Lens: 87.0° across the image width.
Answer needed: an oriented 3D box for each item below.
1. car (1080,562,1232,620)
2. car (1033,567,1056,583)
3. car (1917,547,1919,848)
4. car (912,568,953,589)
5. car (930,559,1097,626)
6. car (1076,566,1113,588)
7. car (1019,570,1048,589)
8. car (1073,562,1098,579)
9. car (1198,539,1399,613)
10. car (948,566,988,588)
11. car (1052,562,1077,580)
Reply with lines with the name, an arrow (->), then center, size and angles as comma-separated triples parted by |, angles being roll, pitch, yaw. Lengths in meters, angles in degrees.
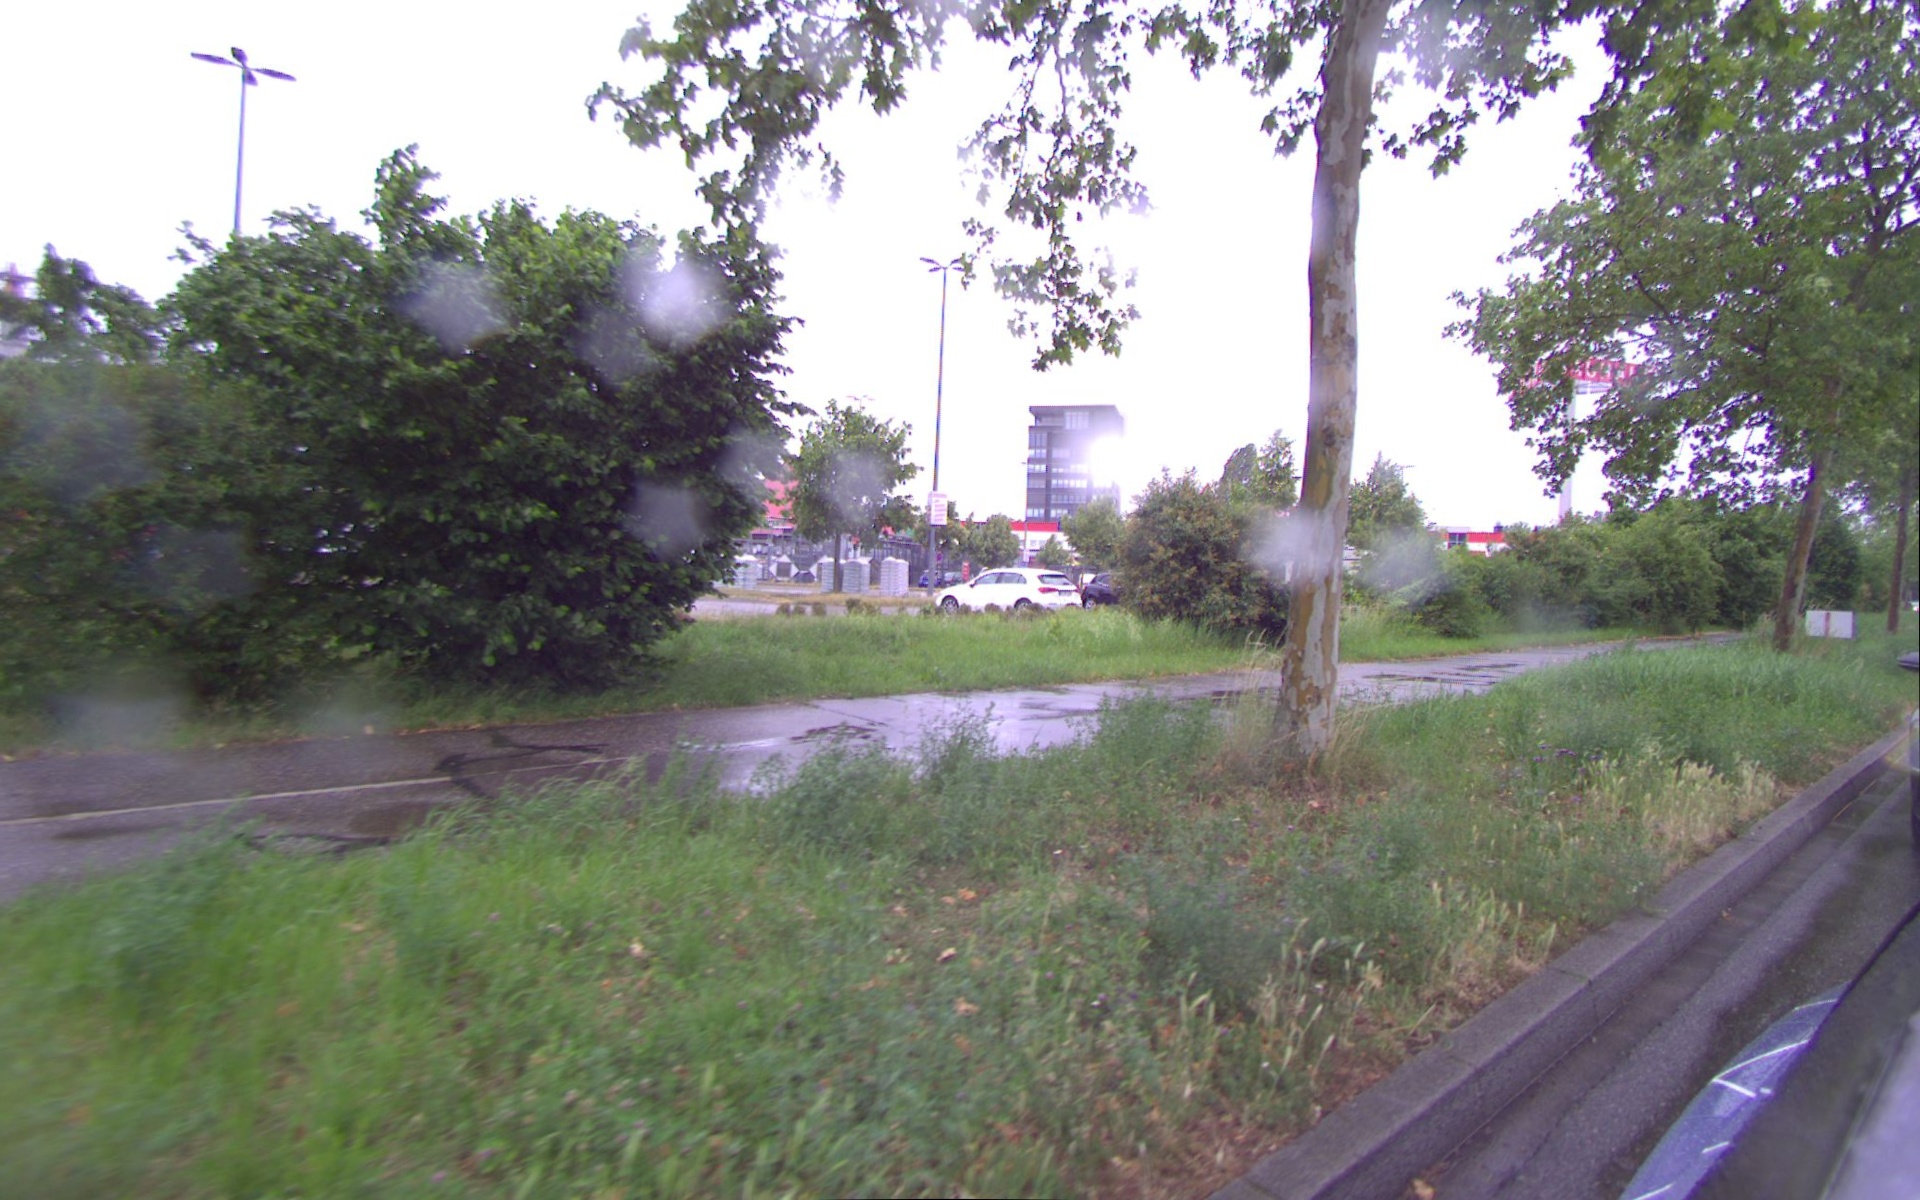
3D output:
car -> 5.980, -0.325, 31.243 | 4.262, 1.571, 1.899 | 3, 3, 45
car -> 9.435, -2.843, 112.848 | 1.973, 1.697, 4.257 | 2, 2, 13
car -> 7.436, 0.512, 6.372 | 4.549, 1.625, 1.768 | -1, 1, -43
car -> -2.144, -1.749, 79.913 | 1.904, 1.571, 4.250 | 2, 2, 18
car -> 1.344, -0.243, 26.881 | 4.262, 1.571, 1.899 | 3, 3, 45
car -> 10.184, -1.780, 76.288 | 1.906, 1.571, 4.246 | 2, 2, 20
car -> 6.992, -1.917, 95.671 | 1.973, 1.697, 4.256 | 2, 2, 14
car -> 14.661, -3.463, 117.832 | 1.907, 1.900, 4.245 | 2, 2, 21
car -> 11.995, -0.927, 36.238 | 6.399, 2.391, 2.357 | 3, 3, 41
car -> 0.651, -1.825, 79.463 | 1.904, 1.571, 4.250 | 2, 2, 18
car -> 10.455, -2.866, 100.658 | 1.972, 1.697, 4.259 | 2, 2, 12
